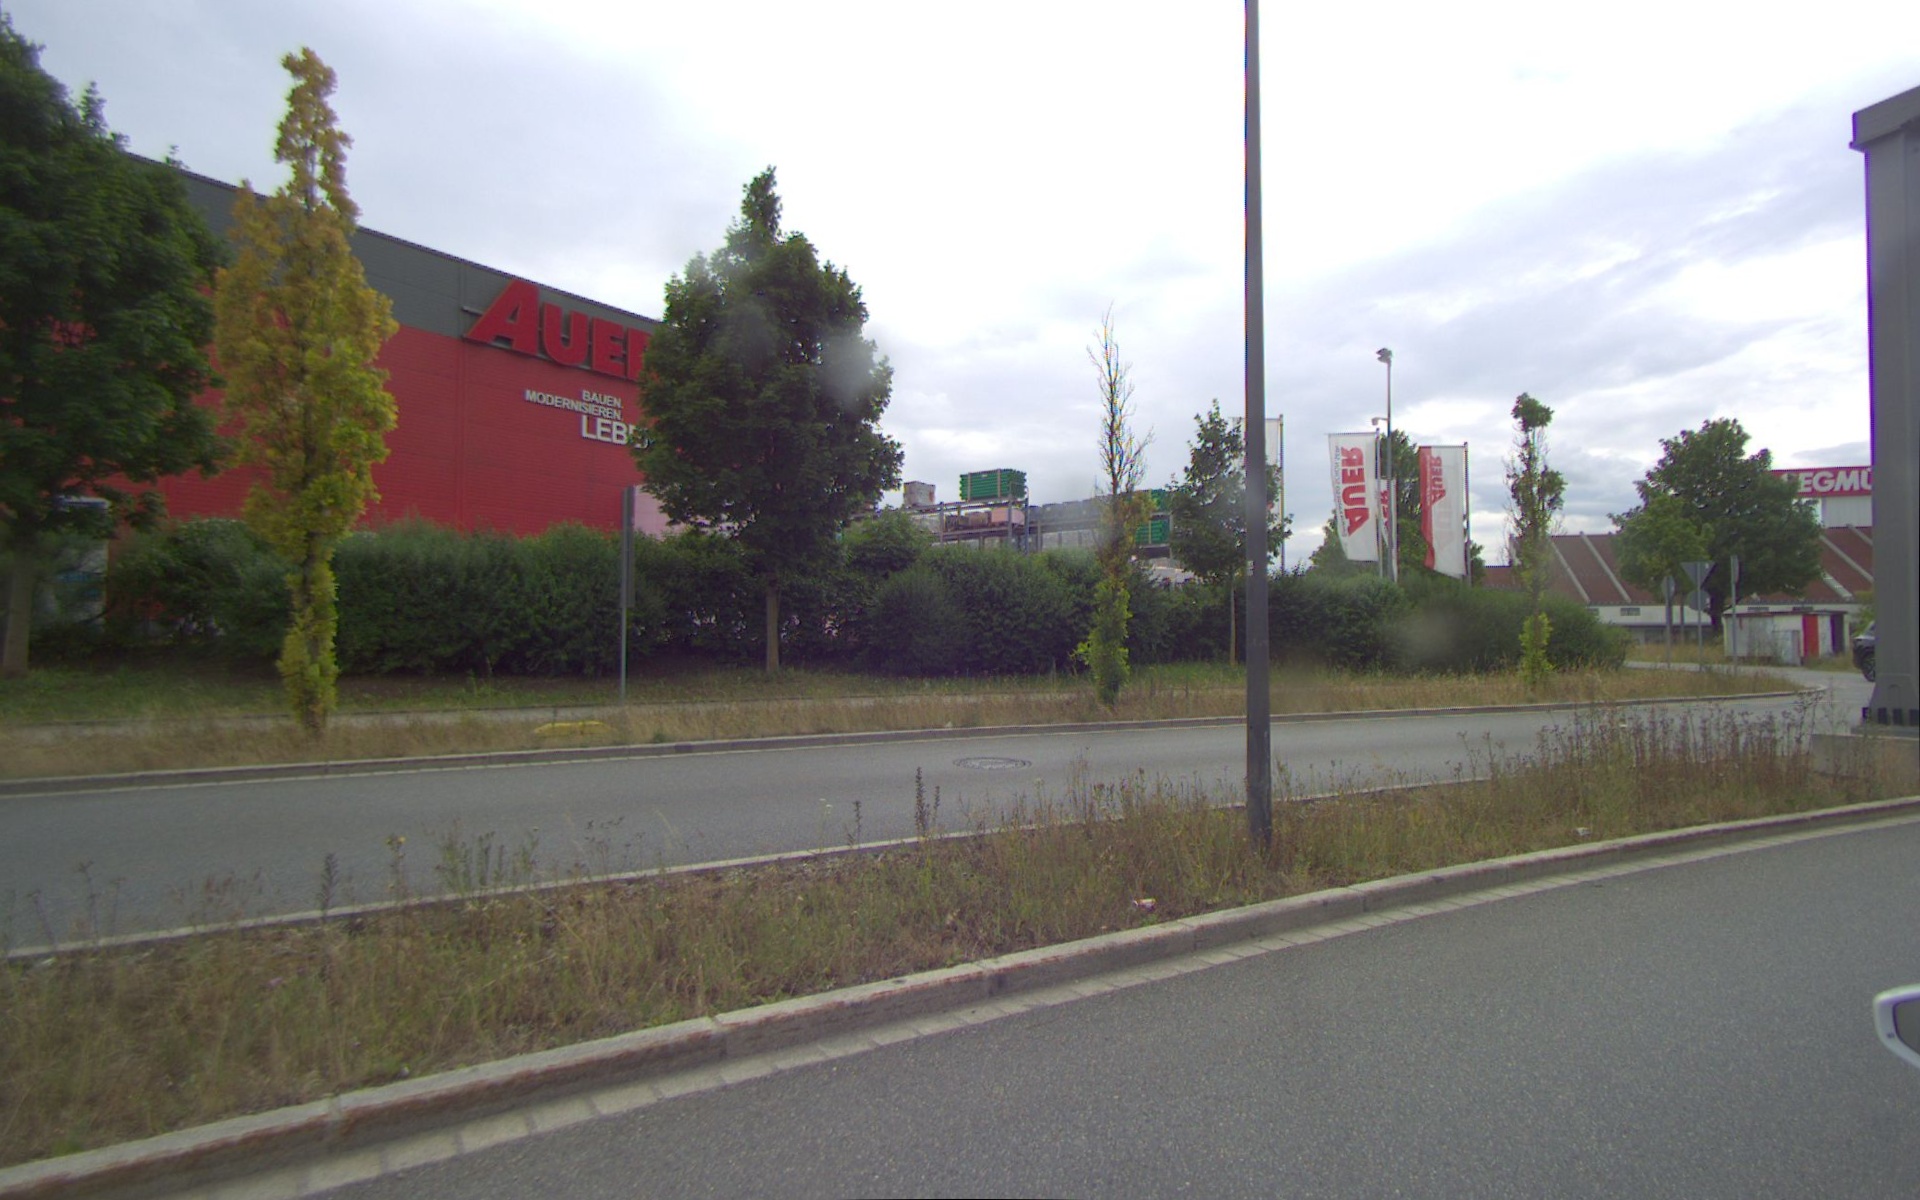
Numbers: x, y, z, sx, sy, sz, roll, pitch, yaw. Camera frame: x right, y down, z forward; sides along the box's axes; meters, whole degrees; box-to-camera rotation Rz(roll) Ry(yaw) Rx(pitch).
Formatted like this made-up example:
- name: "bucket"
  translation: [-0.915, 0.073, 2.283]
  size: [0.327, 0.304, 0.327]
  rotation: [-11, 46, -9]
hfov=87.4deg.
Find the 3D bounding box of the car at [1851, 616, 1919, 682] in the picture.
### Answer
- name: "car"
  translation: [24.053, 1.187, 24.108]
  size: [1.836, 1.570, 4.258]
  rotation: [0, -1, 5]
